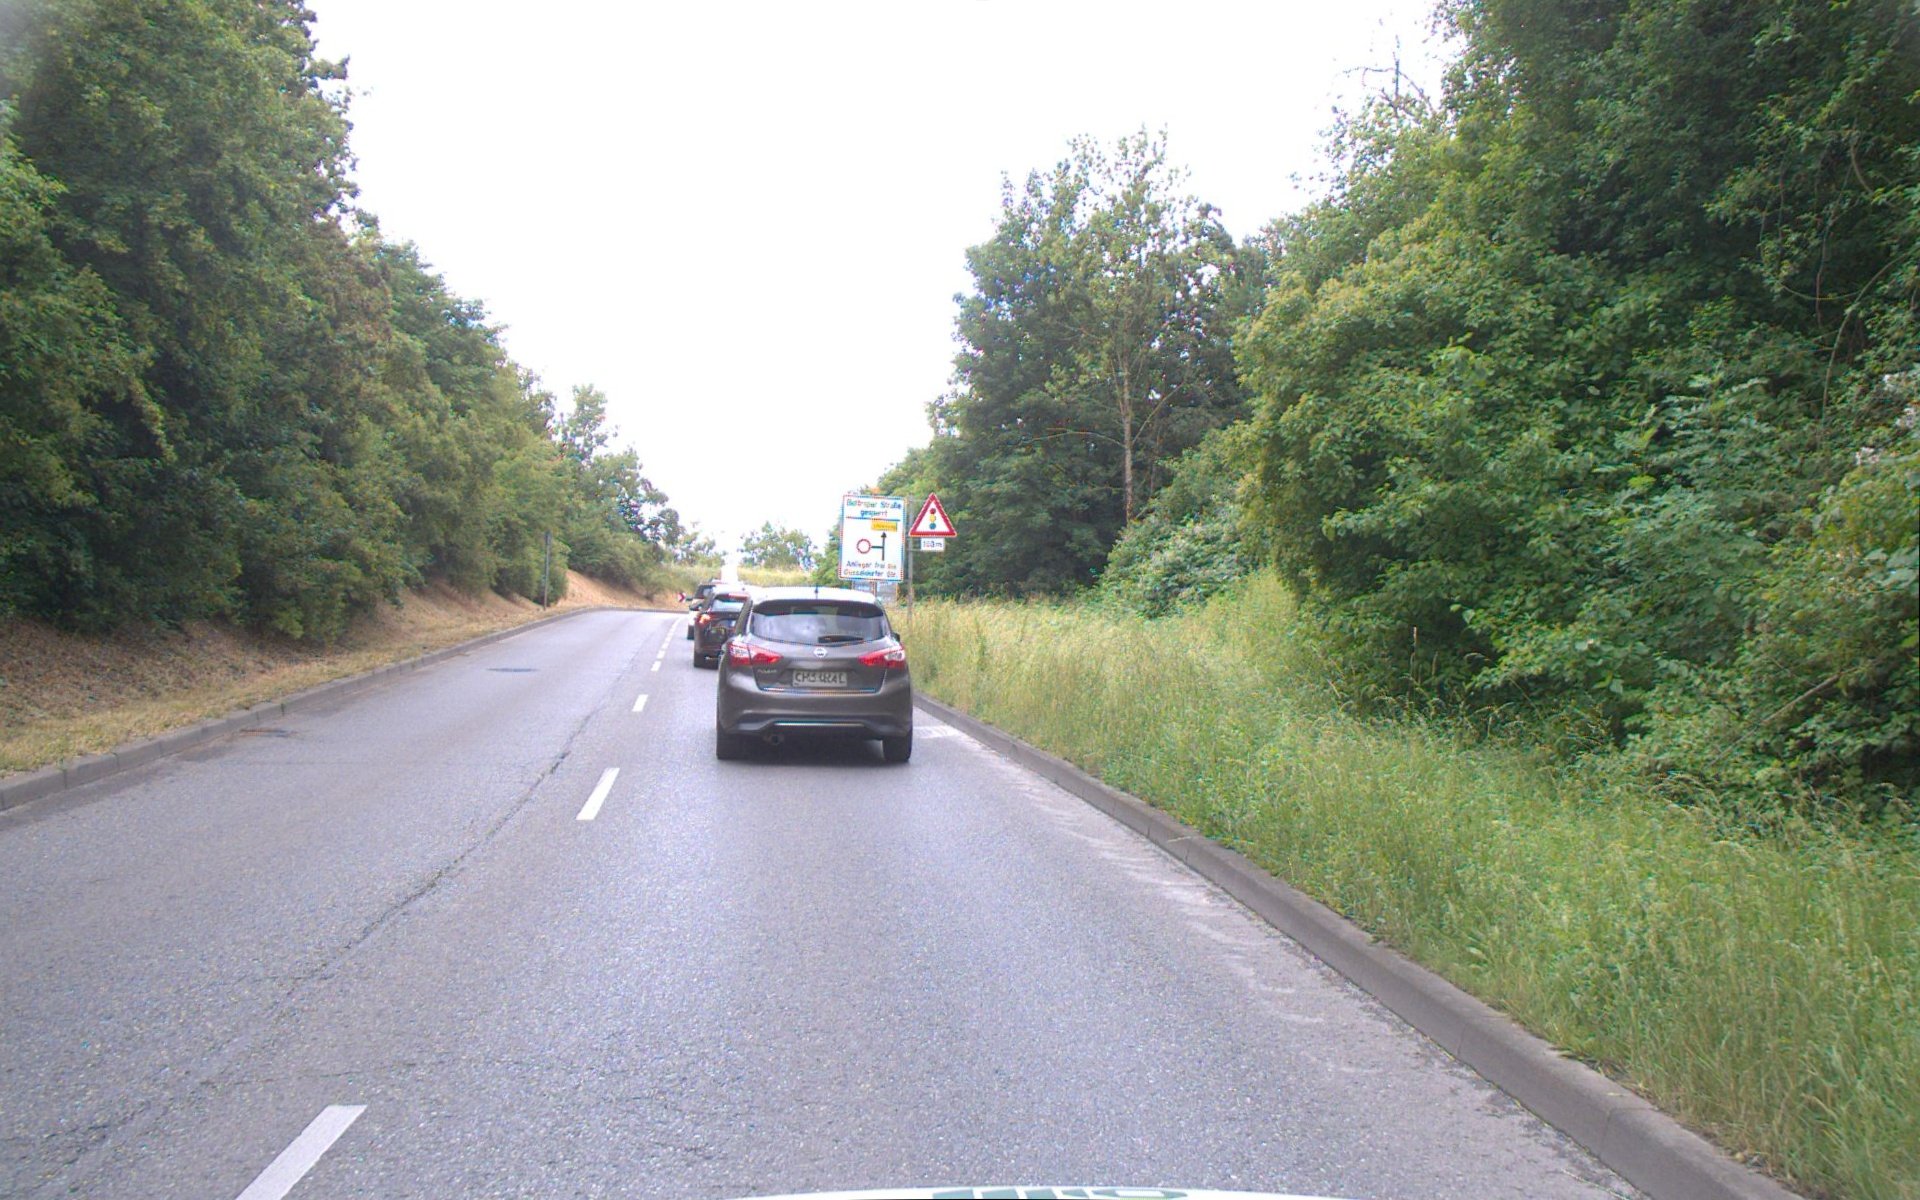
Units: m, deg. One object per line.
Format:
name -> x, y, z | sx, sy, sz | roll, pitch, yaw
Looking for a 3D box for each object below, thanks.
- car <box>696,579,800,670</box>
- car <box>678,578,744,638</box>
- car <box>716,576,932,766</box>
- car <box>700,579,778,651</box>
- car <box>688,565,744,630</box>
car -> -3.996, 0.419, 30.929 | 1.796, 1.583, 3.618 | 1, 0, -8
car -> -6.809, 0.199, 45.360 | 1.703, 1.583, 3.537 | 1, 0, -8
car -> -1.397, 0.595, 15.750 | 1.796, 1.583, 3.492 | 1, 0, -9
car -> -5.168, 0.328, 38.490 | 1.703, 1.583, 3.537 | 1, 0, -8
car -> -7.803, -0.093, 52.909 | 1.704, 1.968, 3.536 | 1, 0, -9
